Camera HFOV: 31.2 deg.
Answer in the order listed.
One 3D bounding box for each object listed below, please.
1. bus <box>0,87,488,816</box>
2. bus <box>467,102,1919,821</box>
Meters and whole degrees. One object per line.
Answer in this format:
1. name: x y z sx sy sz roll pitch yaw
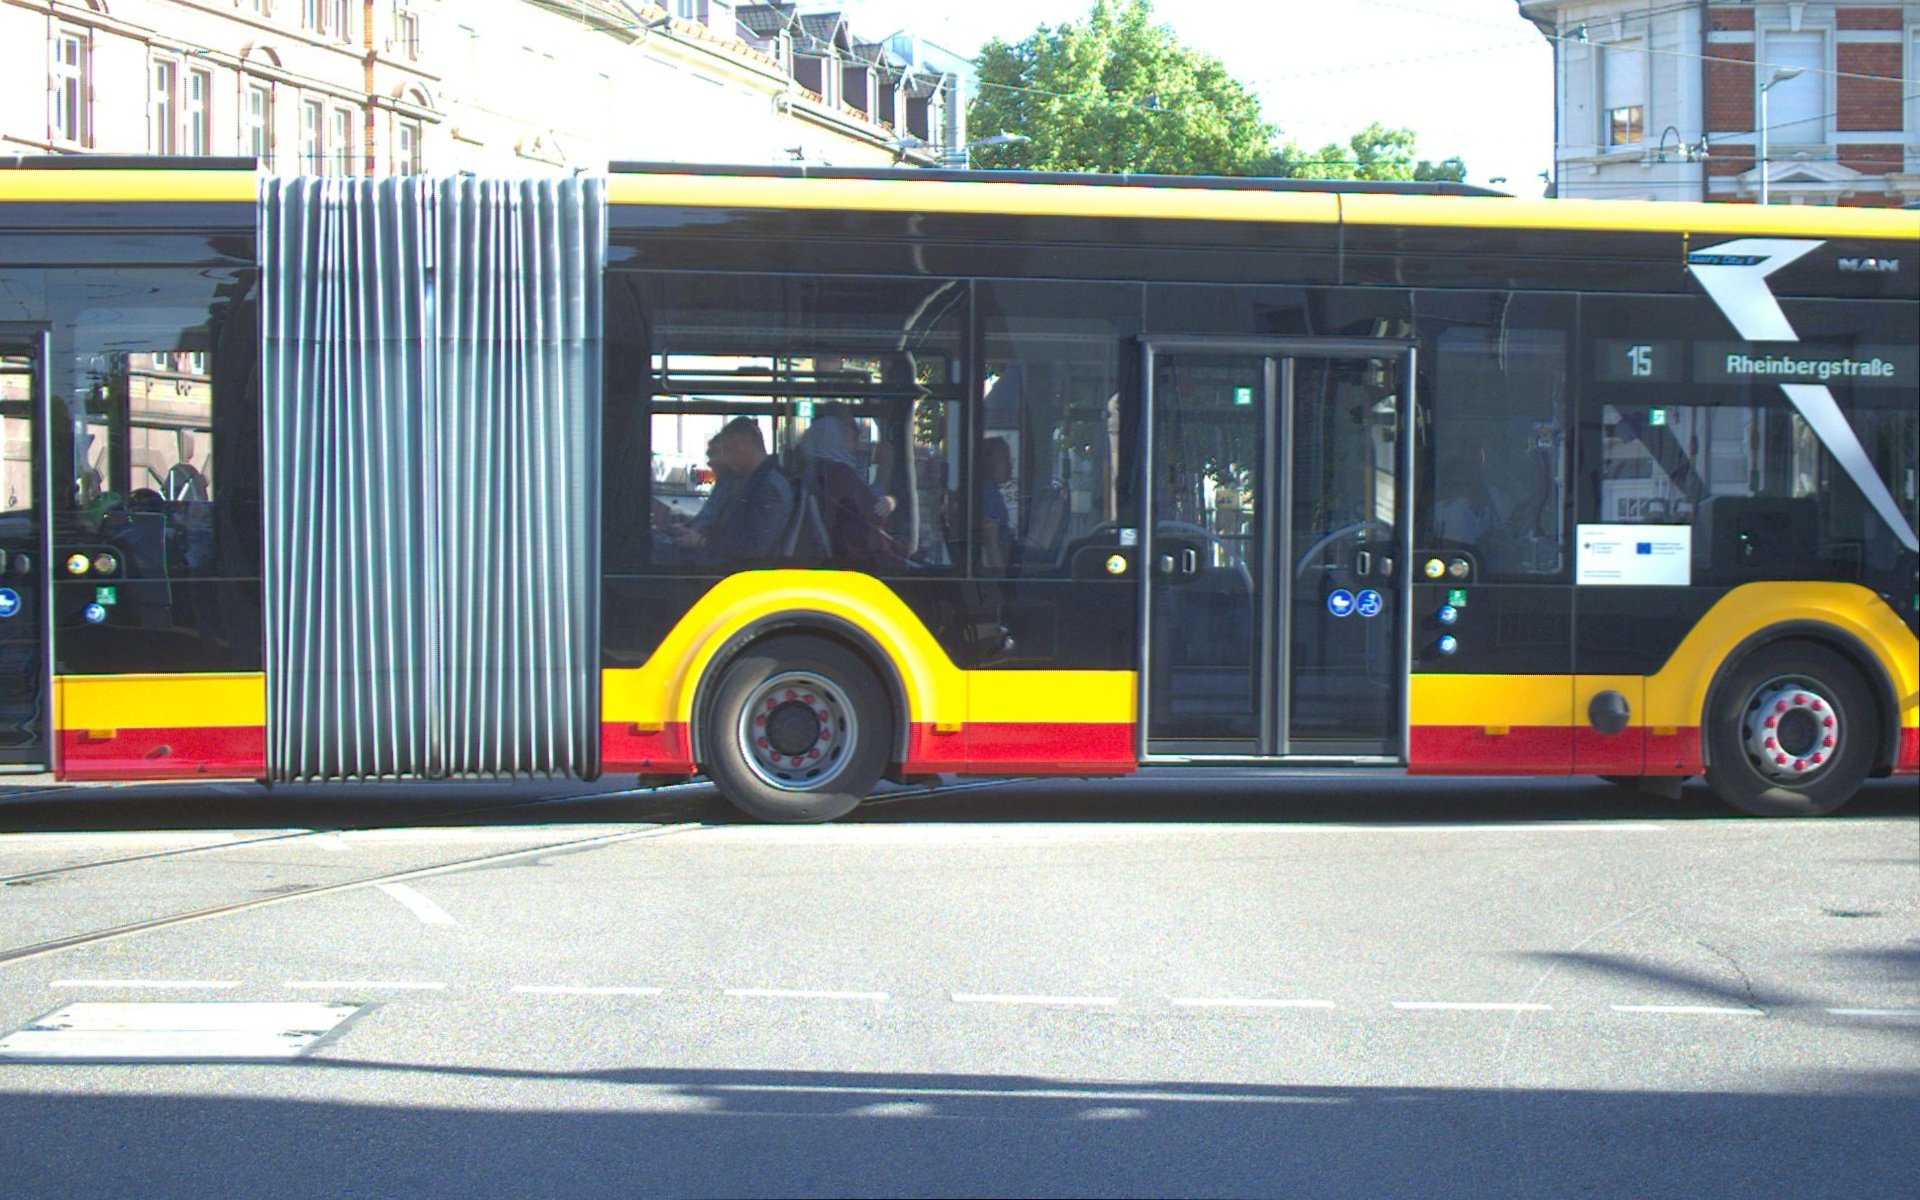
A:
1. bus: -6.760 -0.774 17.380 8.612 3.445 2.788 1 2 -8
2. bus: 2.108 -0.665 18.628 9.409 3.445 2.781 1 2 -8
